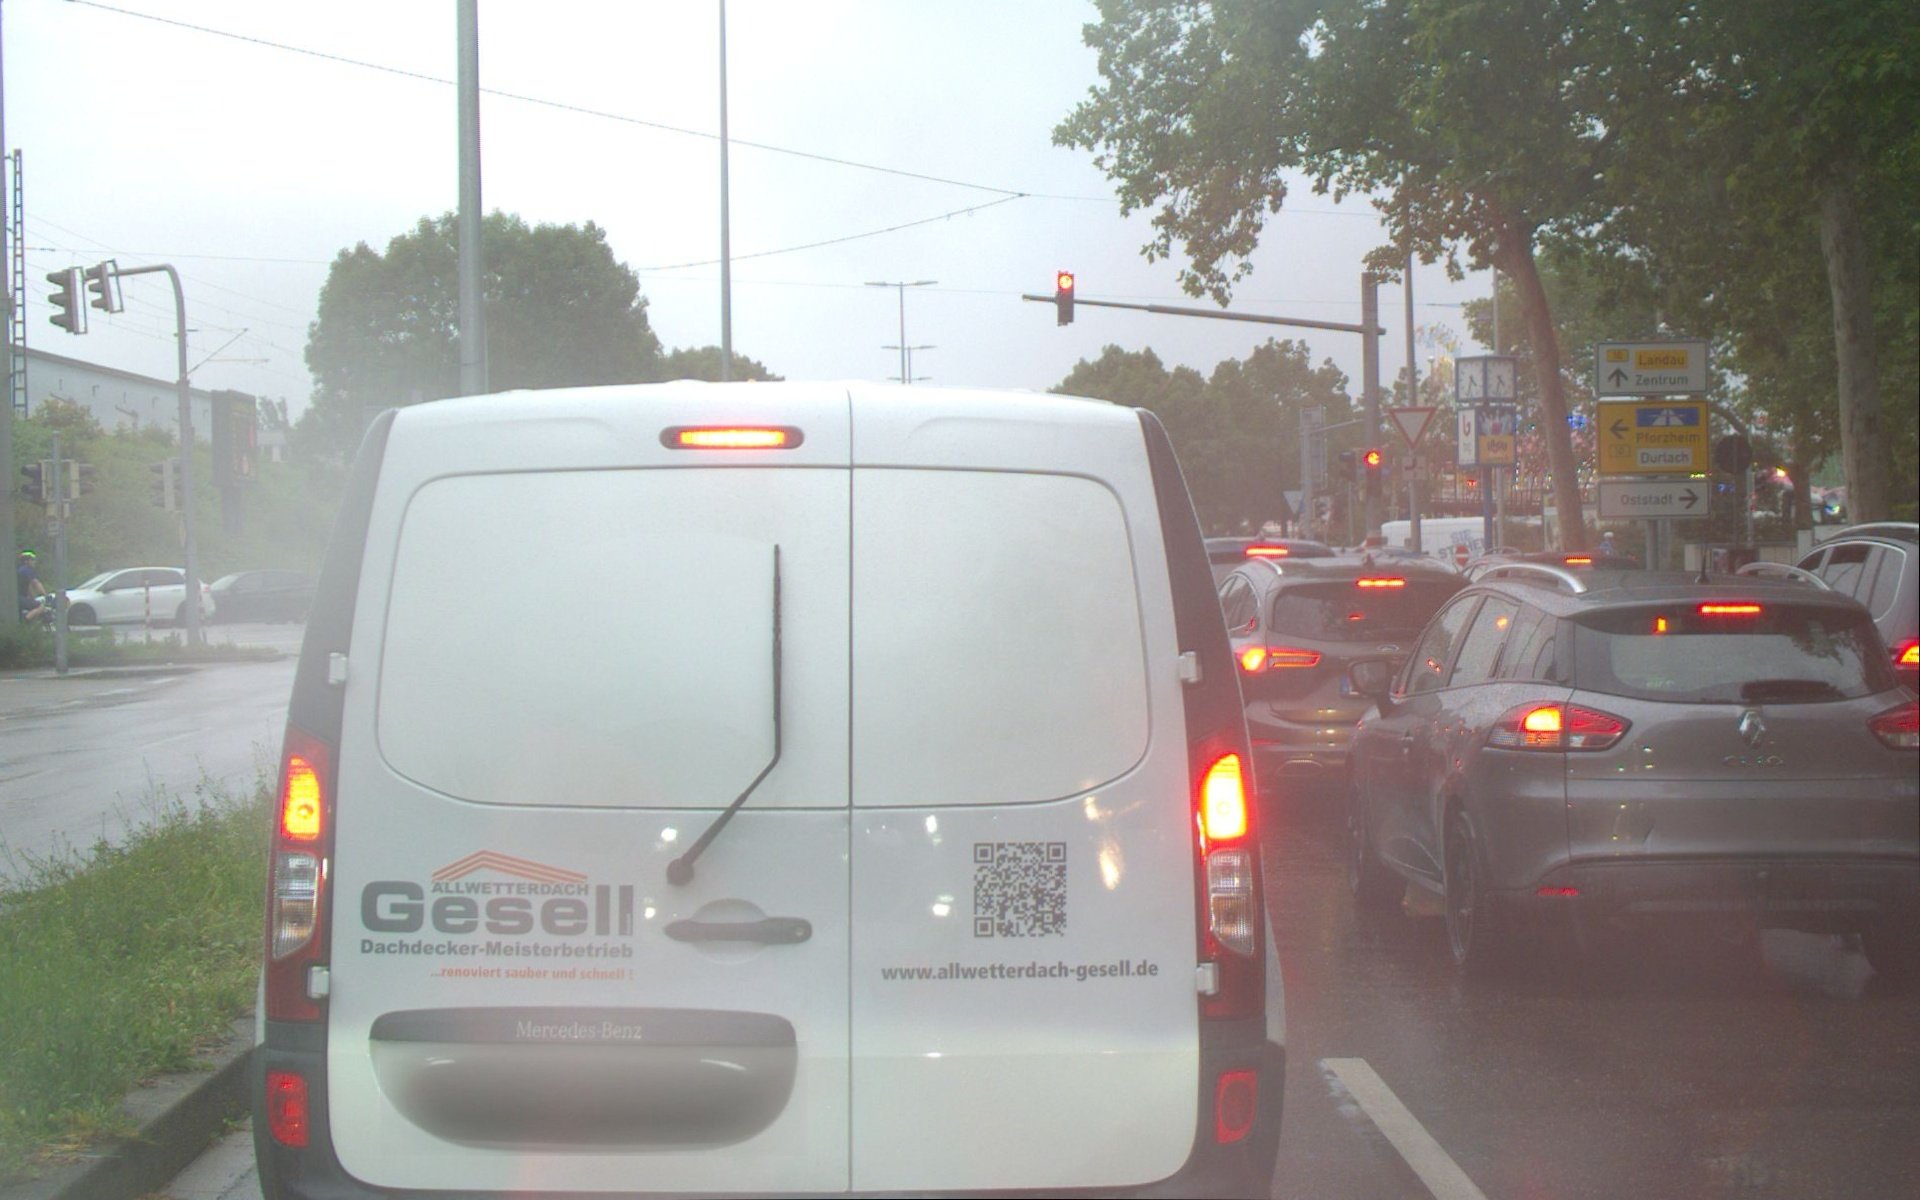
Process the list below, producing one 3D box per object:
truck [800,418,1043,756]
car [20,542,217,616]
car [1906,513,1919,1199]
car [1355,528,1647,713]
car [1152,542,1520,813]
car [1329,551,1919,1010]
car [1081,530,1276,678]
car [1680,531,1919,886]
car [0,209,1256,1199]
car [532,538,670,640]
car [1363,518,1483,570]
[{"bbox_3d":[-0.360,-0.113,27.029,1.756,2.458,4.000,0,0,-2],"label":"truck"},{"bbox_3d":[-19.134,-0.491,78.206,3.987,1.579,1.717,-2,1,-34],"label":"car"},{"bbox_3d":[2.964,0.641,5.391,1.708,1.544,4.001,0,2,-2],"label":"car"},{"bbox_3d":[4.765,0.156,30.818,1.839,1.531,4.112,1,0,-2],"label":"car"},{"bbox_3d":[2.150,0.387,20.620,1.711,1.440,4.000,0,1,-1],"label":"car"},{"bbox_3d":[2.501,0.553,13.069,1.711,1.440,4.000,0,1,-1],"label":"car"},{"bbox_3d":[2.221,-0.001,35.828,1.711,1.440,4.000,0,1,-1],"label":"car"},{"bbox_3d":[5.378,0.514,18.800,1.856,1.720,4.191,0,0,-2],"label":"car"},{"bbox_3d":[-0.617,0.366,7.343,1.993,2.007,4.001,0,1,-2],"label":"car"},{"bbox_3d":[-5.851,-0.200,56.447,1.826,1.563,4.000,-2,1,0],"label":"car"},{"bbox_3d":[15.631,-1.869,116.046,3.988,1.707,1.772,0,-1,9],"label":"car"}]
